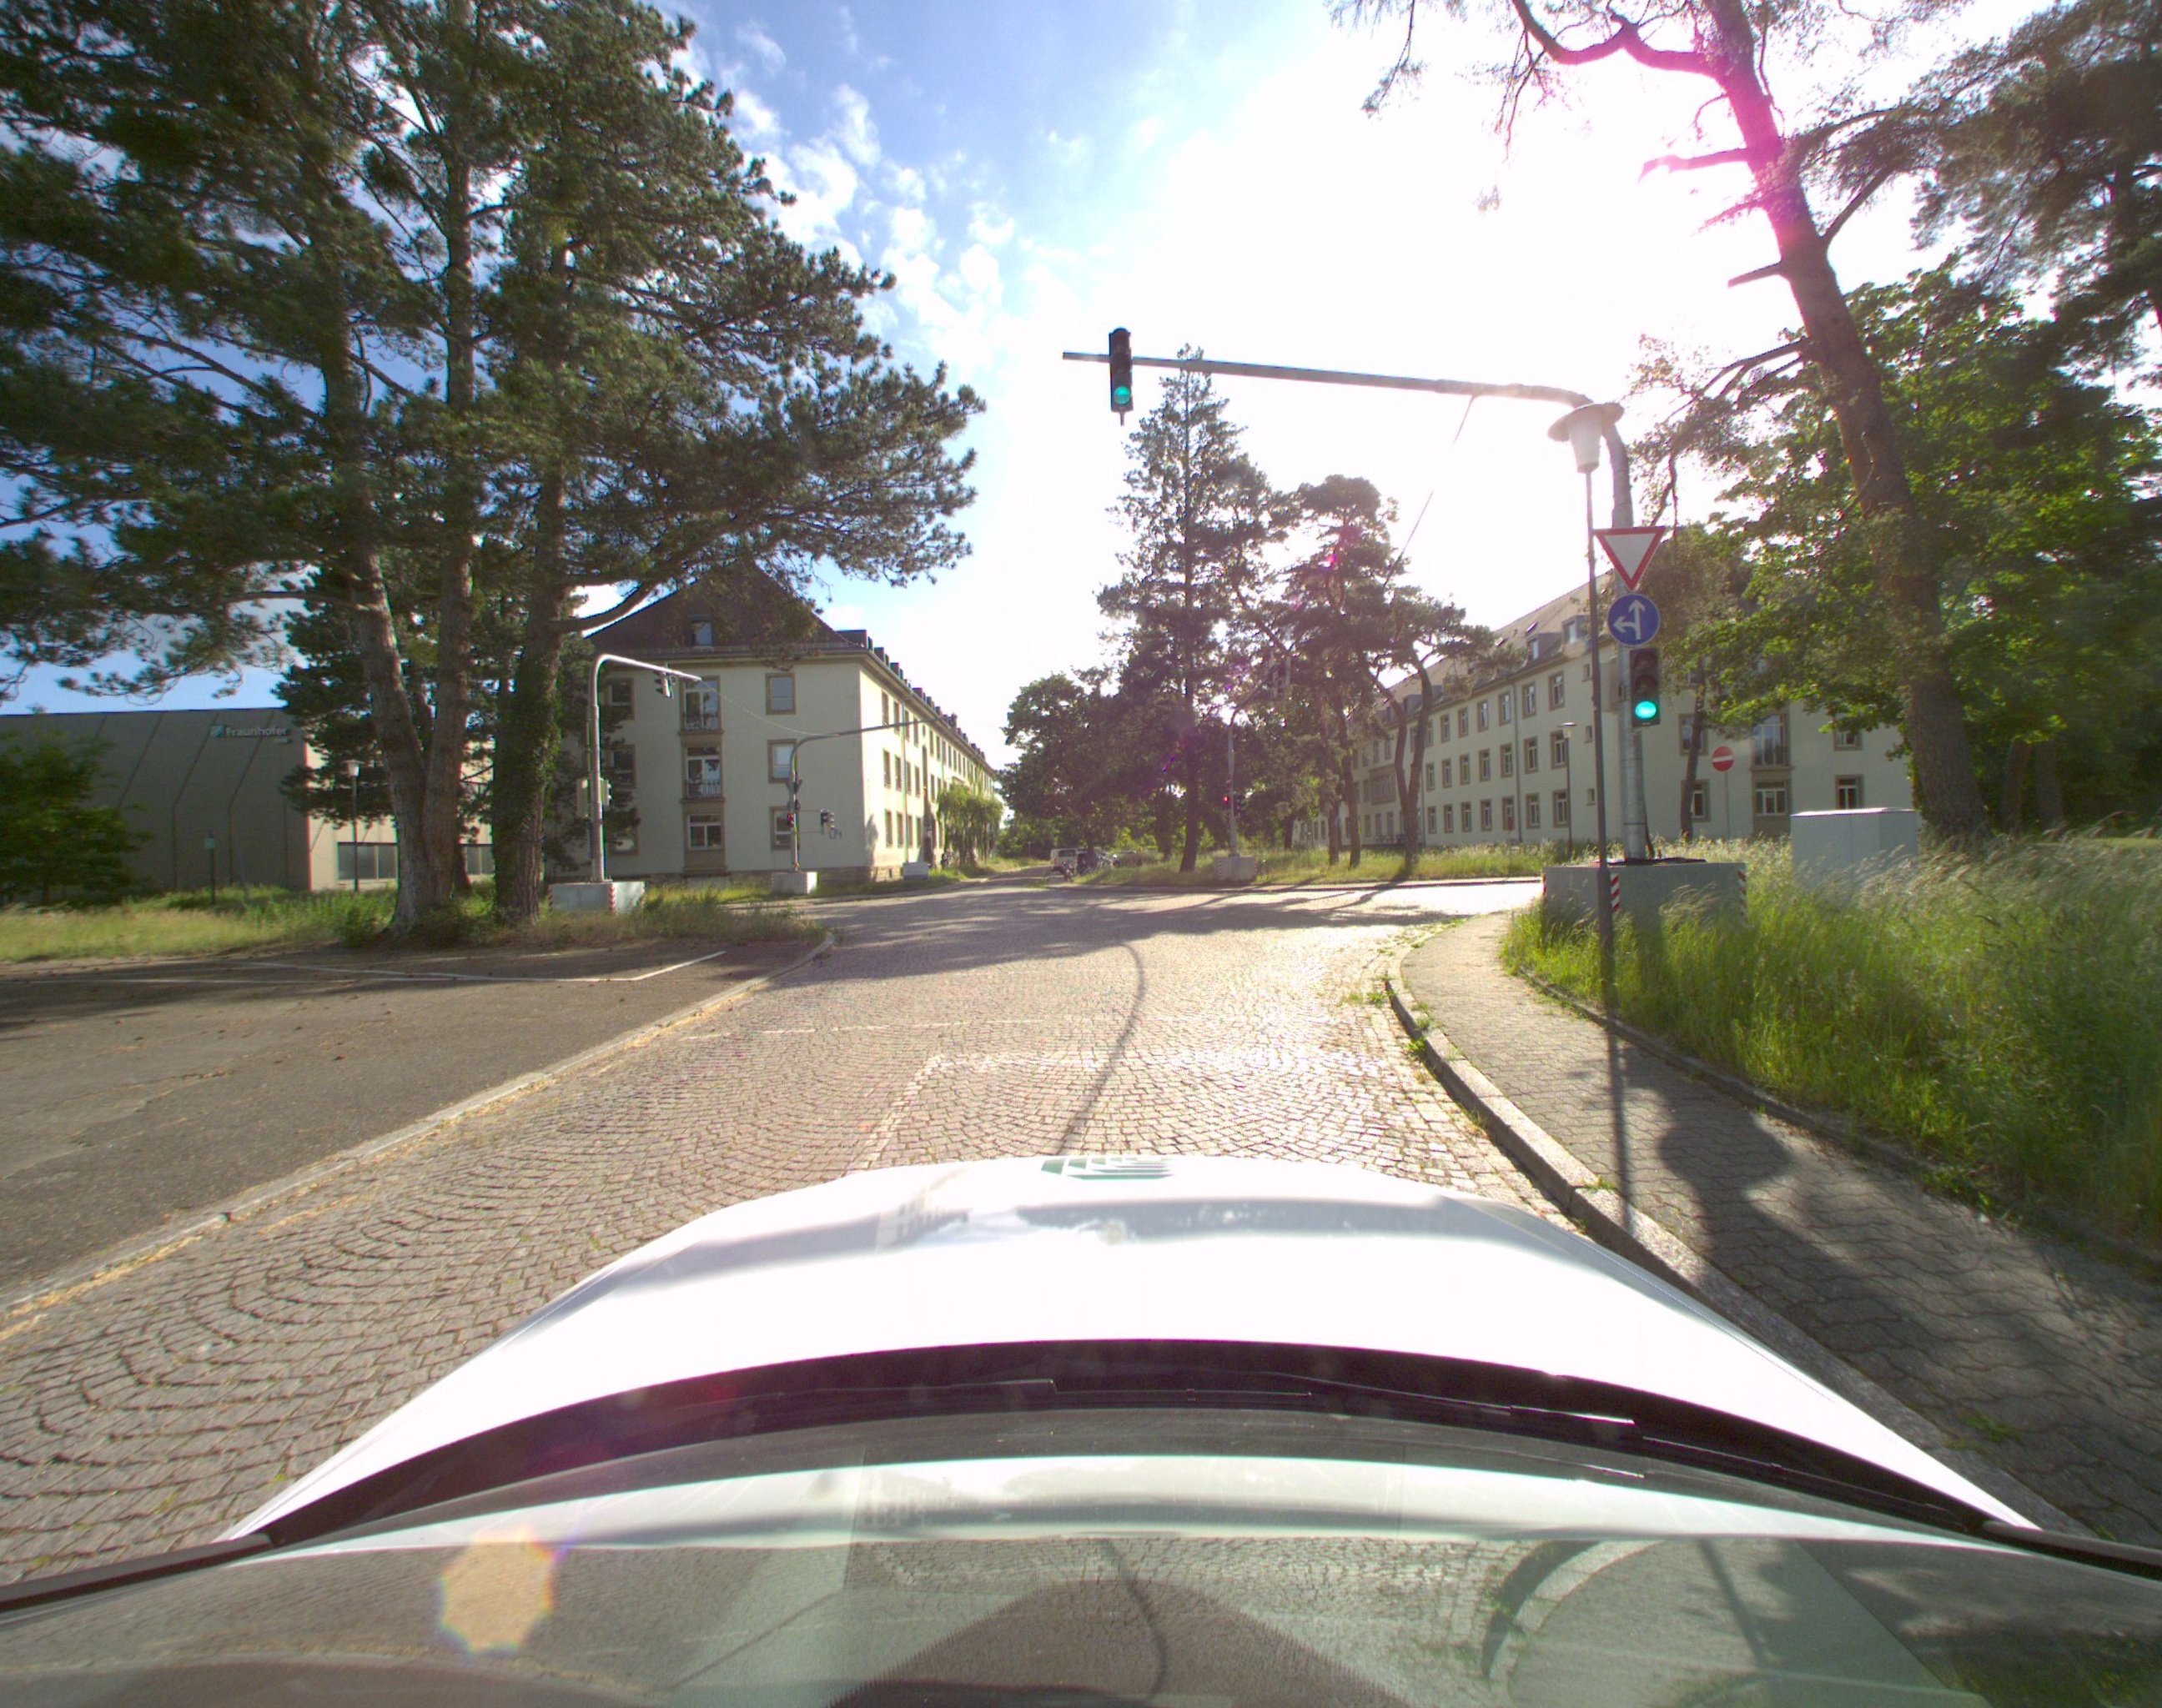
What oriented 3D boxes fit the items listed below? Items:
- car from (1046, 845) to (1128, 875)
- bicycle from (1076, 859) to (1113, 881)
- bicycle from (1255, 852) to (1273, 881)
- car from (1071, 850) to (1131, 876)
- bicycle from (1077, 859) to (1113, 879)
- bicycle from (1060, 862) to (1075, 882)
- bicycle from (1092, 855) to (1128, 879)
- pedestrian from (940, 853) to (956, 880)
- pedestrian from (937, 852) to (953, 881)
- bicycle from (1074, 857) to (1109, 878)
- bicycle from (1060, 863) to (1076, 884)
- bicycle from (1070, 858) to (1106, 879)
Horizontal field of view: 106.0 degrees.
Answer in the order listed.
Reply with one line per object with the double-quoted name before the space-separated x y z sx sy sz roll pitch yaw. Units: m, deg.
"car" 0.427 0.445 61.609 5.926 2.013 2.469 -2 0 -8
"bicycle" 0.709 0.846 44.485 1.937 1.129 0.749 -2 0 -4
"bicycle" 7.097 0.488 31.641 0.464 1.080 1.175 -2 -1 3
"car" 1.399 0.640 57.435 3.985 1.684 1.842 -2 0 -8
"bicycle" 0.744 0.801 43.690 1.850 1.031 0.749 -2 0 -4
"bicycle" -0.711 0.937 42.130 0.694 0.971 1.859 -1 0 -2
"bicycle" 1.615 0.706 45.199 1.937 1.235 0.485 -2 0 -4
"pedestrian" -8.828 0.825 54.079 0.762 1.817 0.684 -2 0 10
"pedestrian" -8.922 0.820 53.348 0.806 1.817 0.556 -2 0 10
"bicycle" 0.607 0.760 46.793 1.938 1.129 0.646 -2 0 -6
"bicycle" -0.647 0.947 40.194 0.694 0.971 1.859 -1 0 -2
"bicycle" 0.410 0.810 45.699 1.952 1.129 0.642 -2 0 -27
